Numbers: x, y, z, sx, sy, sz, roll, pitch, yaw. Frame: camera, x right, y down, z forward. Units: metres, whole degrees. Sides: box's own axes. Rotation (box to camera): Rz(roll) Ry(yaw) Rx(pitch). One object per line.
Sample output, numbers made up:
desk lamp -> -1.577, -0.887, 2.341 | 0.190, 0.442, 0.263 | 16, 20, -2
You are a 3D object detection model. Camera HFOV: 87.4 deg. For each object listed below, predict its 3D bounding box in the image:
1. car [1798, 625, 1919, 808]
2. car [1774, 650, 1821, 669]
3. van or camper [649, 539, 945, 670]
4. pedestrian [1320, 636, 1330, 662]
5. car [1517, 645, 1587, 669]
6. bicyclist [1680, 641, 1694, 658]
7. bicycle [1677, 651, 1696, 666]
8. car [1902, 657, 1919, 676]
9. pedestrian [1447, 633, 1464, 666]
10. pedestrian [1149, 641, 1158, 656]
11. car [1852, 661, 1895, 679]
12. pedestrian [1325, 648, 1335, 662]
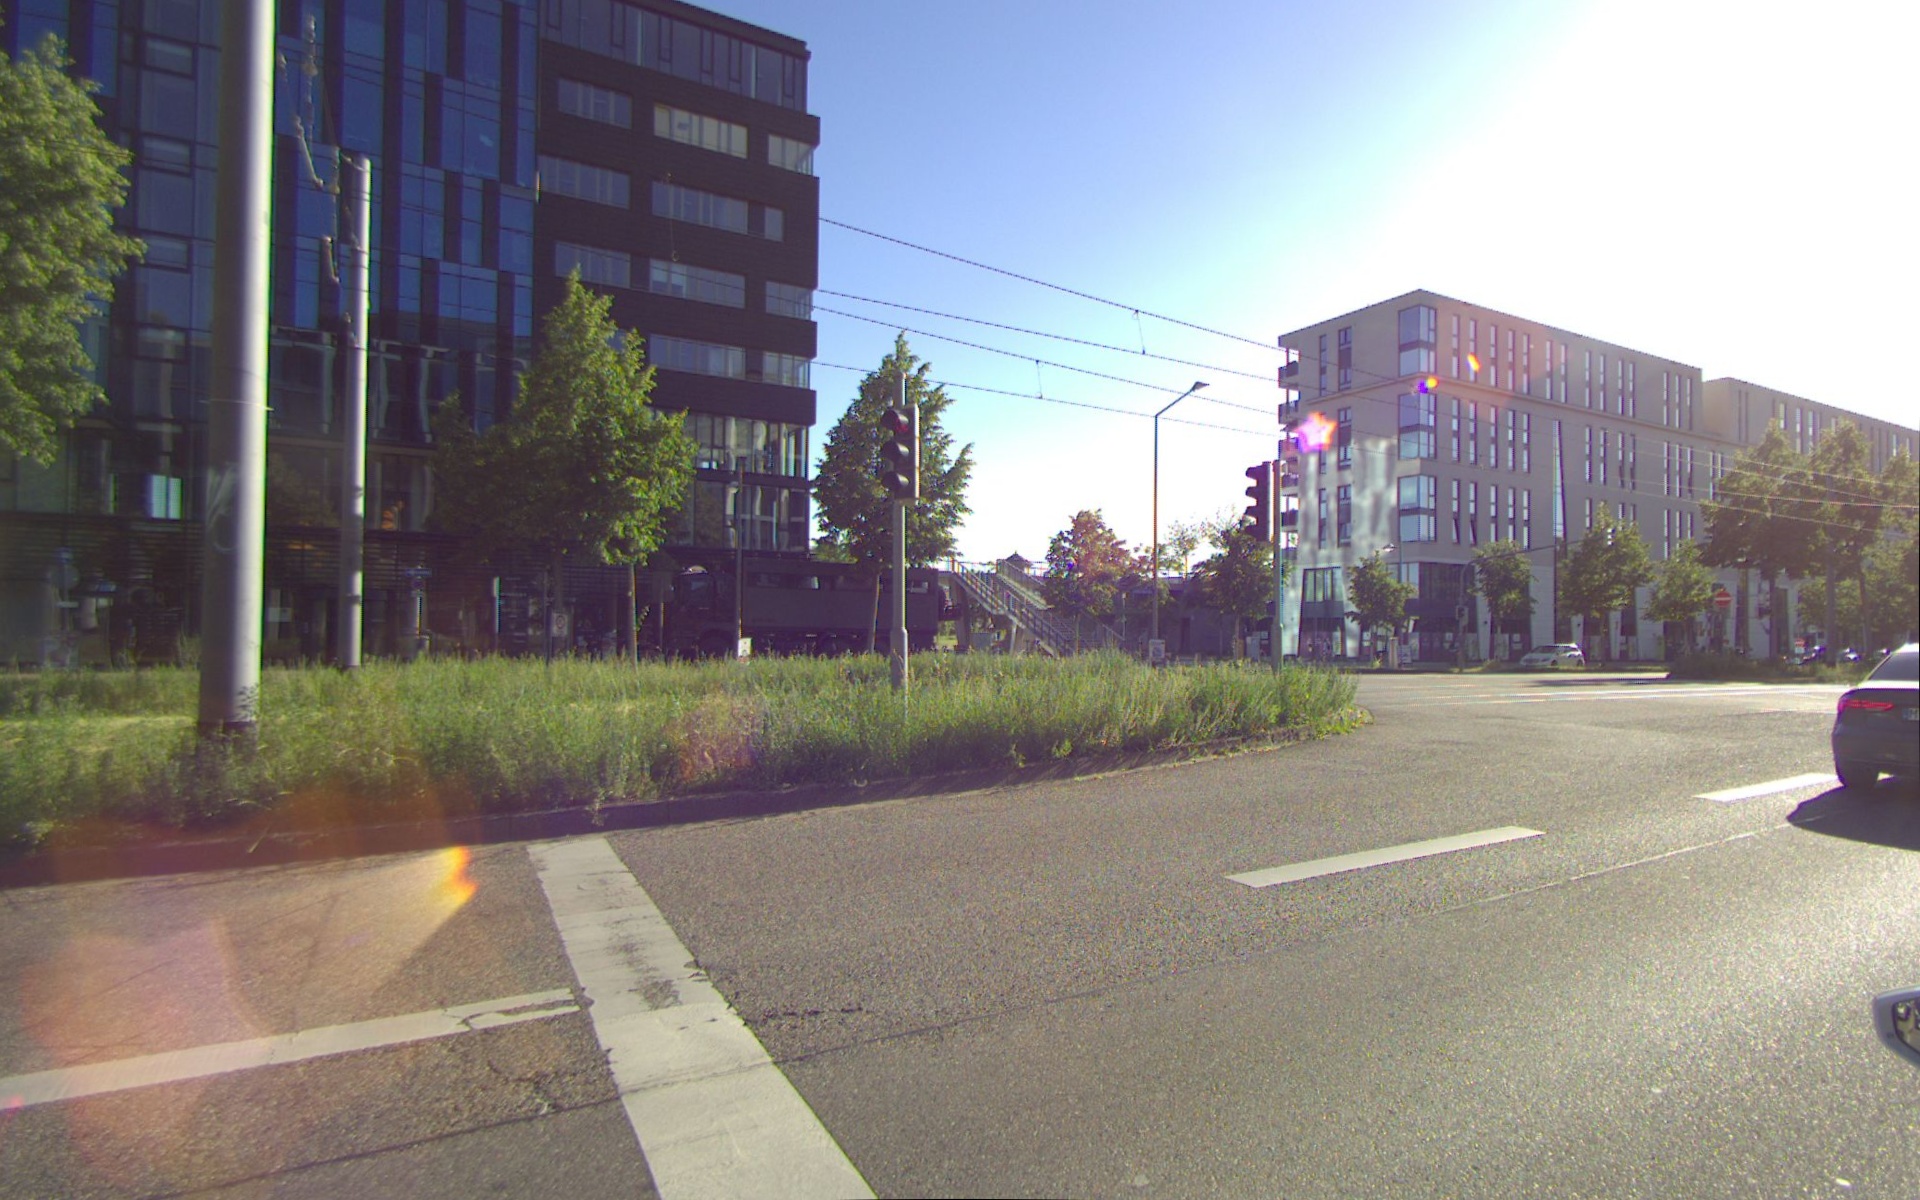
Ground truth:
car -> 9.886, 1.051, 9.638 | 4.070, 1.547, 1.797 | 2, -2, -34
car -> 62.455, 4.414, 74.894 | 3.668, 1.360, 1.573 | 2, -2, -30
van or camper -> -5.662, 0.338, 36.097 | 10.106, 4.247, 2.741 | 2, -2, -29
pedestrian -> 25.582, 3.418, 70.332 | 0.589, 1.794, 0.672 | 1, -1, 25
car -> 34.389, 3.313, 58.317 | 4.419, 1.360, 1.573 | 2, -2, -30
bicyclist -> 55.127, 3.746, 76.174 | 0.696, 1.310, 0.576 | 2, -1, -28
bicycle -> 55.095, 4.417, 76.169 | 1.617, 1.125, 0.526 | 2, -1, -28
car -> 84.085, 5.821, 87.636 | 3.761, 1.548, 1.768 | 2, -2, -30
pedestrian -> 28.725, 2.863, 58.215 | 0.791, 1.836, 0.575 | 2, -1, -33
pedestrian -> 15.107, 3.774, 78.424 | 0.592, 1.140, 0.437 | 2, -1, -27
car -> 73.622, 5.638, 80.932 | 3.668, 1.360, 1.573 | 2, -2, -30
pedestrian -> 26.117, 3.888, 70.939 | 0.589, 0.932, 0.433 | 1, -1, 25
